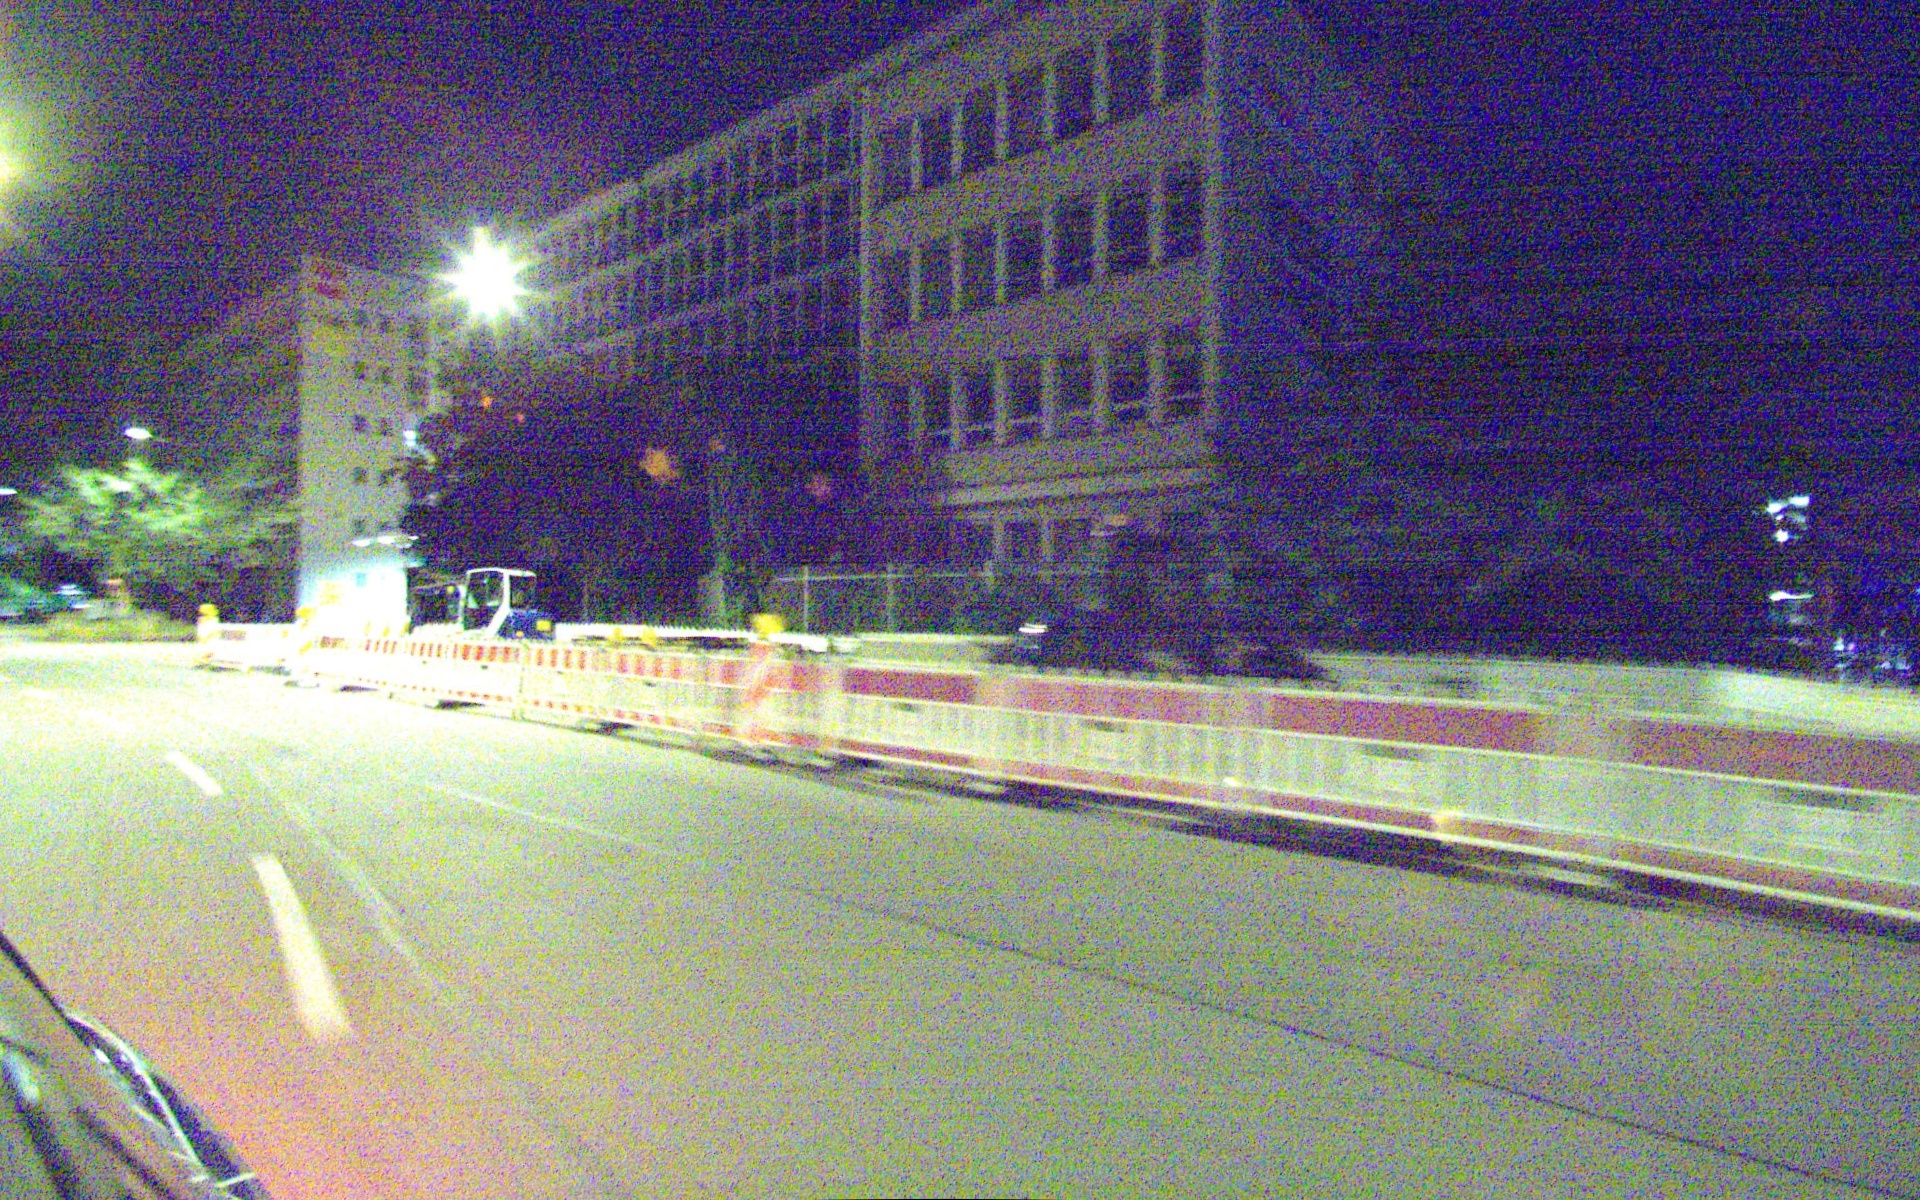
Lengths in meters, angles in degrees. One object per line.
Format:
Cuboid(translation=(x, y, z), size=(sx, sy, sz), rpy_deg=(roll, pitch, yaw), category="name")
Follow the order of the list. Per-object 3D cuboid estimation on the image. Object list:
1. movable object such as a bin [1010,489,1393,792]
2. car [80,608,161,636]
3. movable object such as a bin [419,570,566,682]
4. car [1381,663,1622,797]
Cuboid(translation=(2.537, 0.436, 10.895), size=(3.691, 2.755, 1.557), rpy_deg=(-1, -4, 34), category="movable object such as a bin")
Cuboid(translation=(-62.329, 1.630, 75.169), size=(1.998, 1.987, 4.387), rpy_deg=(-1, -1, 40), category="car")
Cuboid(translation=(-10.959, 0.581, 23.772), size=(2.818, 2.486, 1.543), rpy_deg=(1, -2, 20), category="movable object such as a bin")
Cuboid(translation=(12.349, 2.833, 23.265), size=(4.485, 2.574, 1.971), rpy_deg=(-1, -1, 45), category="car")
